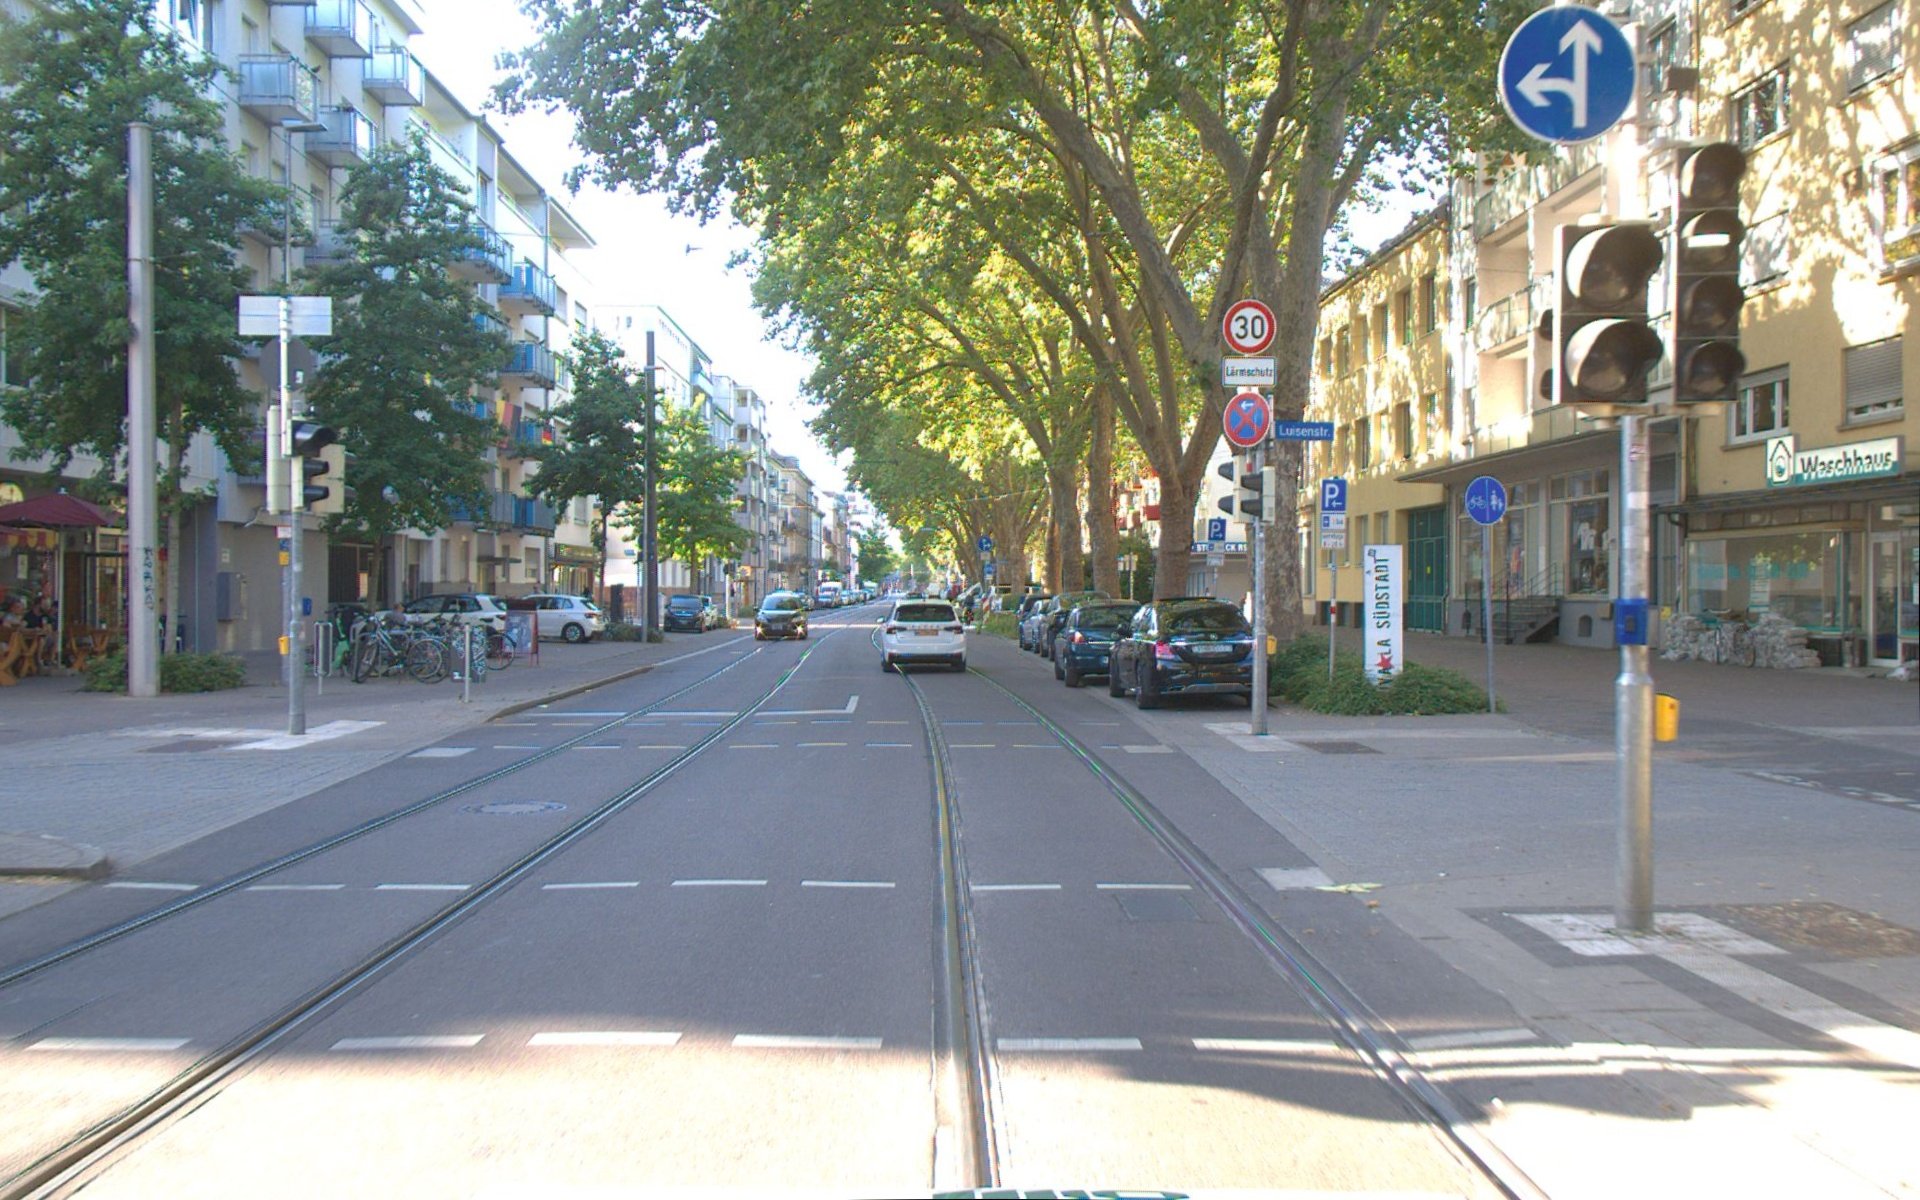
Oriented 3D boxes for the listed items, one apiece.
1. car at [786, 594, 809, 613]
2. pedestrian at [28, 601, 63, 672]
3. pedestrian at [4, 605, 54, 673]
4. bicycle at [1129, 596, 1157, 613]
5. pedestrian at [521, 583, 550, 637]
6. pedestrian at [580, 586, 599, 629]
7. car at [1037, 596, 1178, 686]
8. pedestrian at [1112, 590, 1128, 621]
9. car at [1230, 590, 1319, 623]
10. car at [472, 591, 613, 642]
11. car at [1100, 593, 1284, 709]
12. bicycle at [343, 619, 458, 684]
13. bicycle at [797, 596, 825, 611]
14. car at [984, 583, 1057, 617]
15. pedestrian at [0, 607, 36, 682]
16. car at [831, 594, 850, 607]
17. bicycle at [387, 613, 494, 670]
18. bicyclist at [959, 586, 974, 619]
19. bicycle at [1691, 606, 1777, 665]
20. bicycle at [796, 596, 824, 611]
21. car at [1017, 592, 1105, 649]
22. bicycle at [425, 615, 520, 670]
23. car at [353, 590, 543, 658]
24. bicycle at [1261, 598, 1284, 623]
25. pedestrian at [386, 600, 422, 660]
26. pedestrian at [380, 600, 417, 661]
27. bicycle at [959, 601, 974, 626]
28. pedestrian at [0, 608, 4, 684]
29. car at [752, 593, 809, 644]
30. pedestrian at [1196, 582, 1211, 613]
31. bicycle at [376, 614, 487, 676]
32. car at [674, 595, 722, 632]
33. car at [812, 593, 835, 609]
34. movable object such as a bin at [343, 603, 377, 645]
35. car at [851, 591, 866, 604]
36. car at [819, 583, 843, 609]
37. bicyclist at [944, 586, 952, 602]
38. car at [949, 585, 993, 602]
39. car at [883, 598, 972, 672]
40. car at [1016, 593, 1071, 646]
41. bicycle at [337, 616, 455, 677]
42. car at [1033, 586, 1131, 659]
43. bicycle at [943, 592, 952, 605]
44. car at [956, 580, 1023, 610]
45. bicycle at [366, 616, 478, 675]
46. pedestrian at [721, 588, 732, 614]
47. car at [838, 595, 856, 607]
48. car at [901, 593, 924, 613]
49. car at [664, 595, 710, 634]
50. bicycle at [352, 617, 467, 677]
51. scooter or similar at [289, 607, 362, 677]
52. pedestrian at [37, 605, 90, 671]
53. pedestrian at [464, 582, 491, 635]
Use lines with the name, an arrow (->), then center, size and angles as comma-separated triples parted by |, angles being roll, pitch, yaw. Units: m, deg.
car -> -12.994, 0.285, 132.526 | 1.620, 1.462, 3.834 | 0, 0, -3
pedestrian -> -15.866, 0.625, 28.695 | 0.506, 1.219, 0.558 | 0, 0, -30
pedestrian -> -16.895, 0.702, 30.027 | 0.550, 1.219, 0.624 | -1, 0, -2
bicycle -> 12.501, 0.303, 112.835 | 1.756, 1.060, 0.617 | -2, 0, -6
pedestrian -> -13.742, 0.320, 53.582 | 0.748, 1.720, 0.794 | 0, 0, -3
pedestrian -> -14.828, 0.308, 66.203 | 0.650, 1.720, 0.748 | 0, 0, -3
car -> 2.560, 0.683, 29.736 | 1.828, 1.462, 4.222 | -1, 0, -5
pedestrian -> 9.894, 0.358, 102.429 | 0.751, 1.899, 1.187 | -1, 0, -5
car -> 15.940, 0.327, 84.000 | 4.052, 1.621, 1.997 | 0, 0, -7
car -> -12.838, 0.509, 51.049 | 3.933, 1.501, 1.850 | 1, 0, -4
car -> 3.204, 0.646, 23.804 | 1.729, 1.488, 5.009 | 0, 0, -3
bicycle -> -9.155, 0.842, 27.102 | 1.658, 1.025, 0.657 | 1, -1, -6
bicycle -> -13.551, 0.319, 150.497 | 2.477, 1.193, 0.718 | 2, -2, -8
car -> 3.837, -0.025, 105.215 | 4.454, 2.113, 1.999 | 0, 0, -4
pedestrian -> -15.932, 0.740, 27.826 | 0.595, 1.219, 0.683 | -1, 0, -36
car -> -14.005, 0.032, 193.692 | 1.953, 1.557, 3.999 | 0, 0, -1
bicycle -> -9.656, 0.777, 30.793 | 1.794, 1.025, 0.657 | 1, -1, -6
bicyclist -> 0.296, 0.121, 74.641 | 0.664, 1.468, 1.047 | -1, 0, -1
bicycle -> 14.037, 0.630, 30.030 | 0.559, 1.014, 1.778 | -2, 0, -6
bicycle -> -13.594, 0.318, 149.614 | 2.510, 1.193, 0.870 | 3, -2, -41
car -> 2.756, 0.577, 46.059 | 1.781, 1.461, 4.598 | -1, -1, -5
bicycle -> -9.469, 0.817, 32.151 | 1.658, 1.025, 0.657 | 1, -1, -6
car -> -12.135, 0.561, 39.383 | 3.931, 1.501, 1.851 | 1, 0, -1
bicycle -> 13.994, 0.465, 74.176 | 0.571, 1.123, 1.922 | -2, 0, -2
pedestrian -> -12.538, 0.661, 37.332 | 0.700, 1.320, 0.908 | -1, 0, -15
pedestrian -> -12.246, 0.659, 36.100 | 0.700, 1.320, 0.744 | -1, 0, -15
bicycle -> 0.294, 0.599, 74.771 | 0.667, 1.089, 1.780 | -1, 0, -1
pedestrian -> -15.705, 0.743, 26.451 | 0.501, 1.219, 0.564 | -1, 0, 0
car -> -6.164, 0.611, 57.209 | 1.835, 1.617, 4.142 | 2, 0, -5
pedestrian -> 13.407, -0.138, 91.014 | 0.731, 1.673, 0.666 | 0, 0, 0
bicycle -> -9.573, 0.818, 29.982 | 1.794, 1.082, 0.657 | 1, -1, -6
car -> -11.421, 0.581, 72.331 | 1.680, 1.489, 4.372 | 3, 0, -5
car -> -13.329, 0.099, 161.653 | 1.953, 1.557, 3.999 | 0, 0, -1
movable object such as a bin -> -15.868, 0.631, 43.776 | 0.664, 1.074, 0.622 | -1, 0, 0
car -> -14.091, -0.353, 229.694 | 1.953, 1.668, 3.999 | 1, 0, -1
car -> -13.515, -0.442, 173.375 | 2.134, 2.642, 4.947 | 0, 0, -1
bicyclist -> -1.012, -0.485, 136.111 | 0.636, 1.367, 0.934 | -1, 0, -3
car -> 1.462, -0.940, 231.005 | 6.008, 2.322, 2.528 | 0, 0, -3
car -> -0.719, 0.678, 34.165 | 1.726, 1.408, 3.998 | -1, 0, -3
car -> 2.529, 0.597, 50.591 | 1.531, 1.545, 2.910 | -1, -1, 1
bicycle -> -9.725, 0.796, 28.571 | 1.794, 1.025, 0.657 | 1, -1, -6
car -> 2.929, 0.546, 40.608 | 1.821, 1.631, 4.779 | -1, -1, -3
bicycle -> -1.003, -0.147, 136.099 | 0.636, 1.089, 1.582 | -1, 0, -3
car -> 2.676, -0.436, 152.183 | 6.008, 2.681, 2.528 | 0, 0, -3
bicycle -> -9.628, 0.816, 29.661 | 1.794, 1.025, 0.657 | 1, -1, -6
pedestrian -> -16.915, 0.089, 119.800 | 0.650, 1.858, 0.965 | 0, 0, -3
car -> -14.187, 0.095, 207.651 | 1.953, 1.557, 3.999 | 0, 0, -1
car -> -3.606, 0.195, 126.109 | 1.726, 1.501, 3.999 | -1, 0, -1
car -> -11.110, 0.571, 67.553 | 1.681, 1.489, 3.993 | 3, 0, -8
bicycle -> -9.645, 0.819, 29.014 | 1.794, 1.025, 0.657 | 1, -1, -6
scooter or similar -> -11.109, 0.730, 28.961 | 1.058, 1.197, 0.498 | 1, -1, -3
pedestrian -> -16.967, 0.711, 31.312 | 0.659, 1.219, 0.655 | -1, 0, -2
pedestrian -> -15.655, 0.276, 53.673 | 0.650, 1.720, 0.748 | 0, 0, -3
